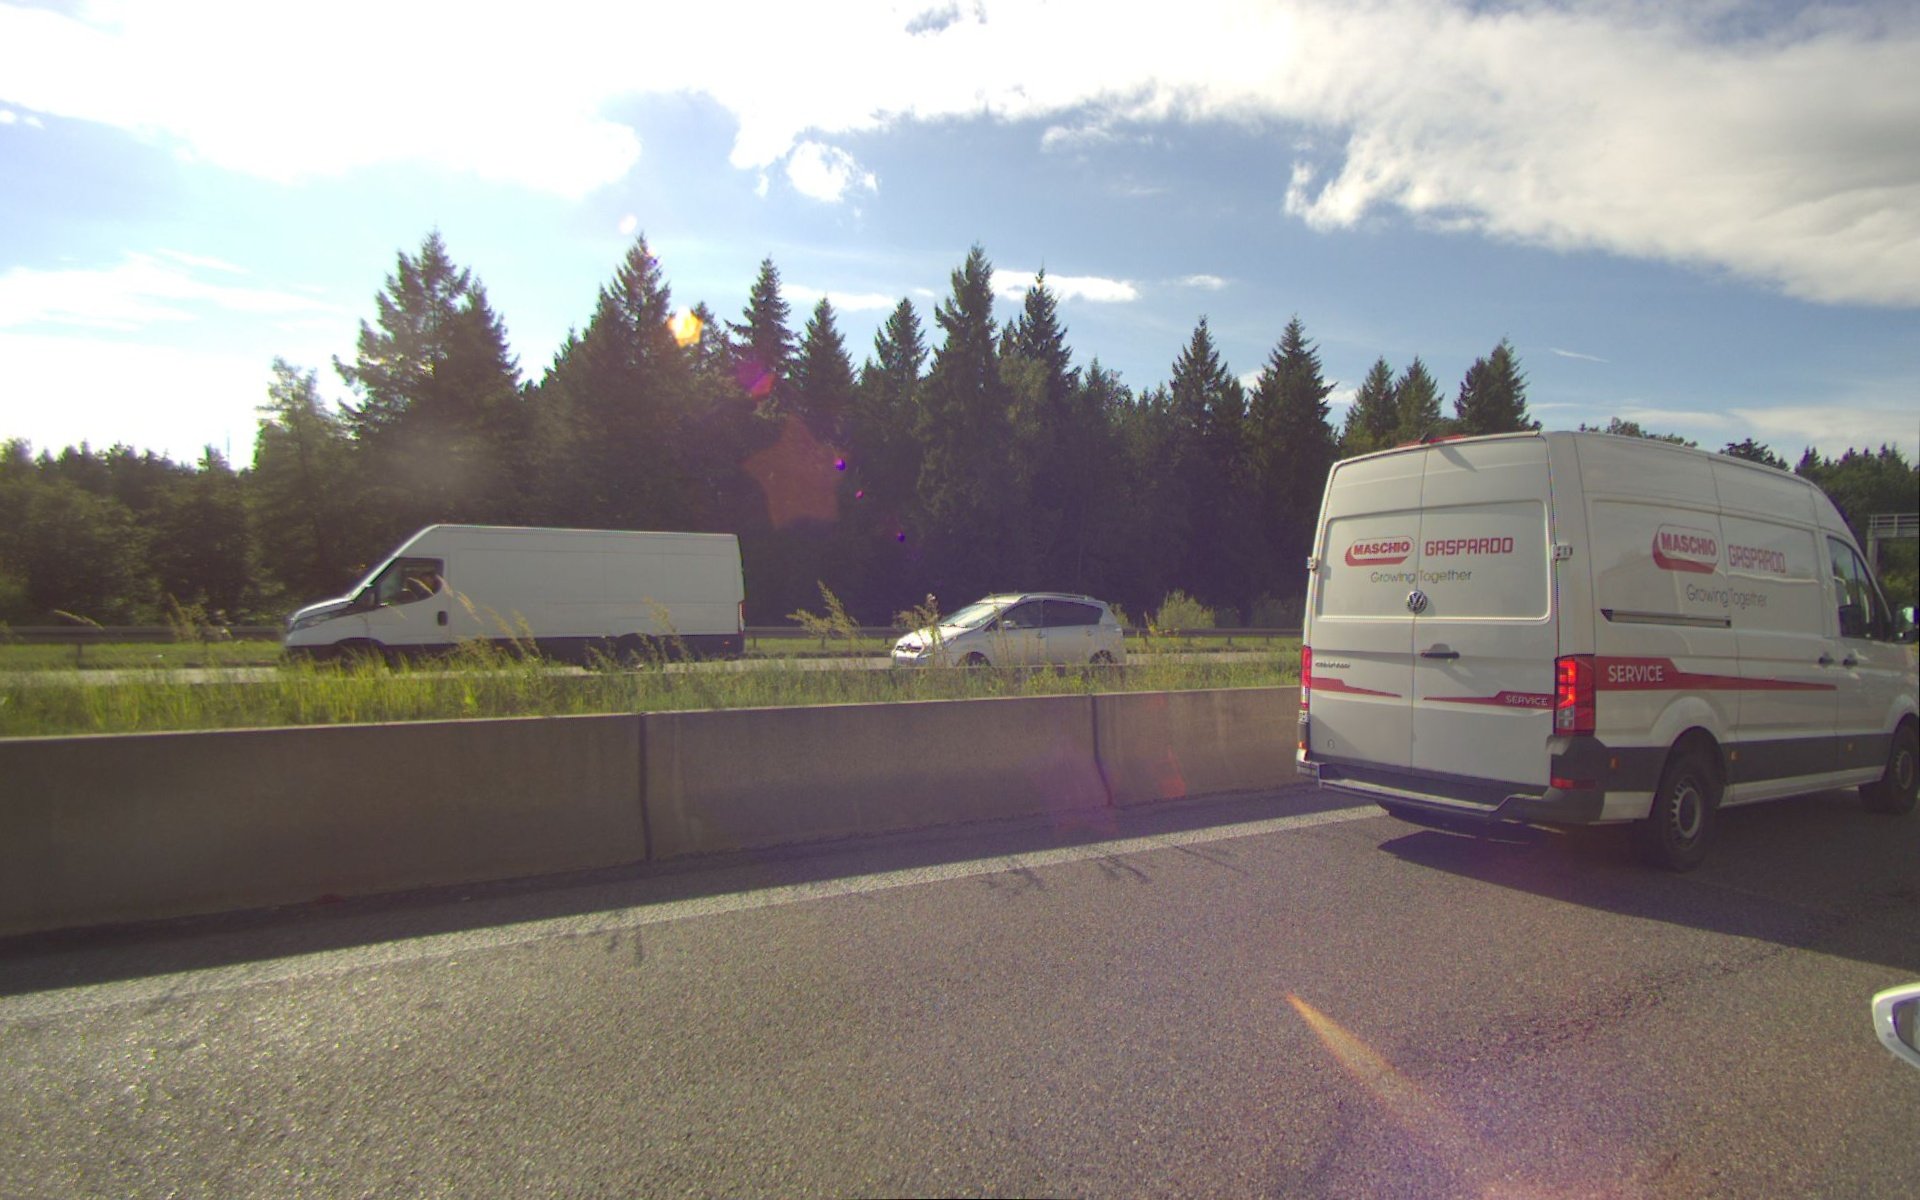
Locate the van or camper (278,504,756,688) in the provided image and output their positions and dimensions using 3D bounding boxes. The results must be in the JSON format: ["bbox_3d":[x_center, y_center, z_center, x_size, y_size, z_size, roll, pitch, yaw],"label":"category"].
[{"bbox_3d":[-7.193,0.030,17.031,7.072,2.627,1.937,2,-1,-32],"label":"van or camper"}]

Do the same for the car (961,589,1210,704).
[{"bbox_3d":[2.346,0.811,18.606,4.220,1.822,1.937,2,3,-30],"label":"car"}]

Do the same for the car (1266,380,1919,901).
[{"bbox_3d":[5.201,0.281,7.550,6.112,2.633,2.005,2,-1,-32],"label":"car"}]
